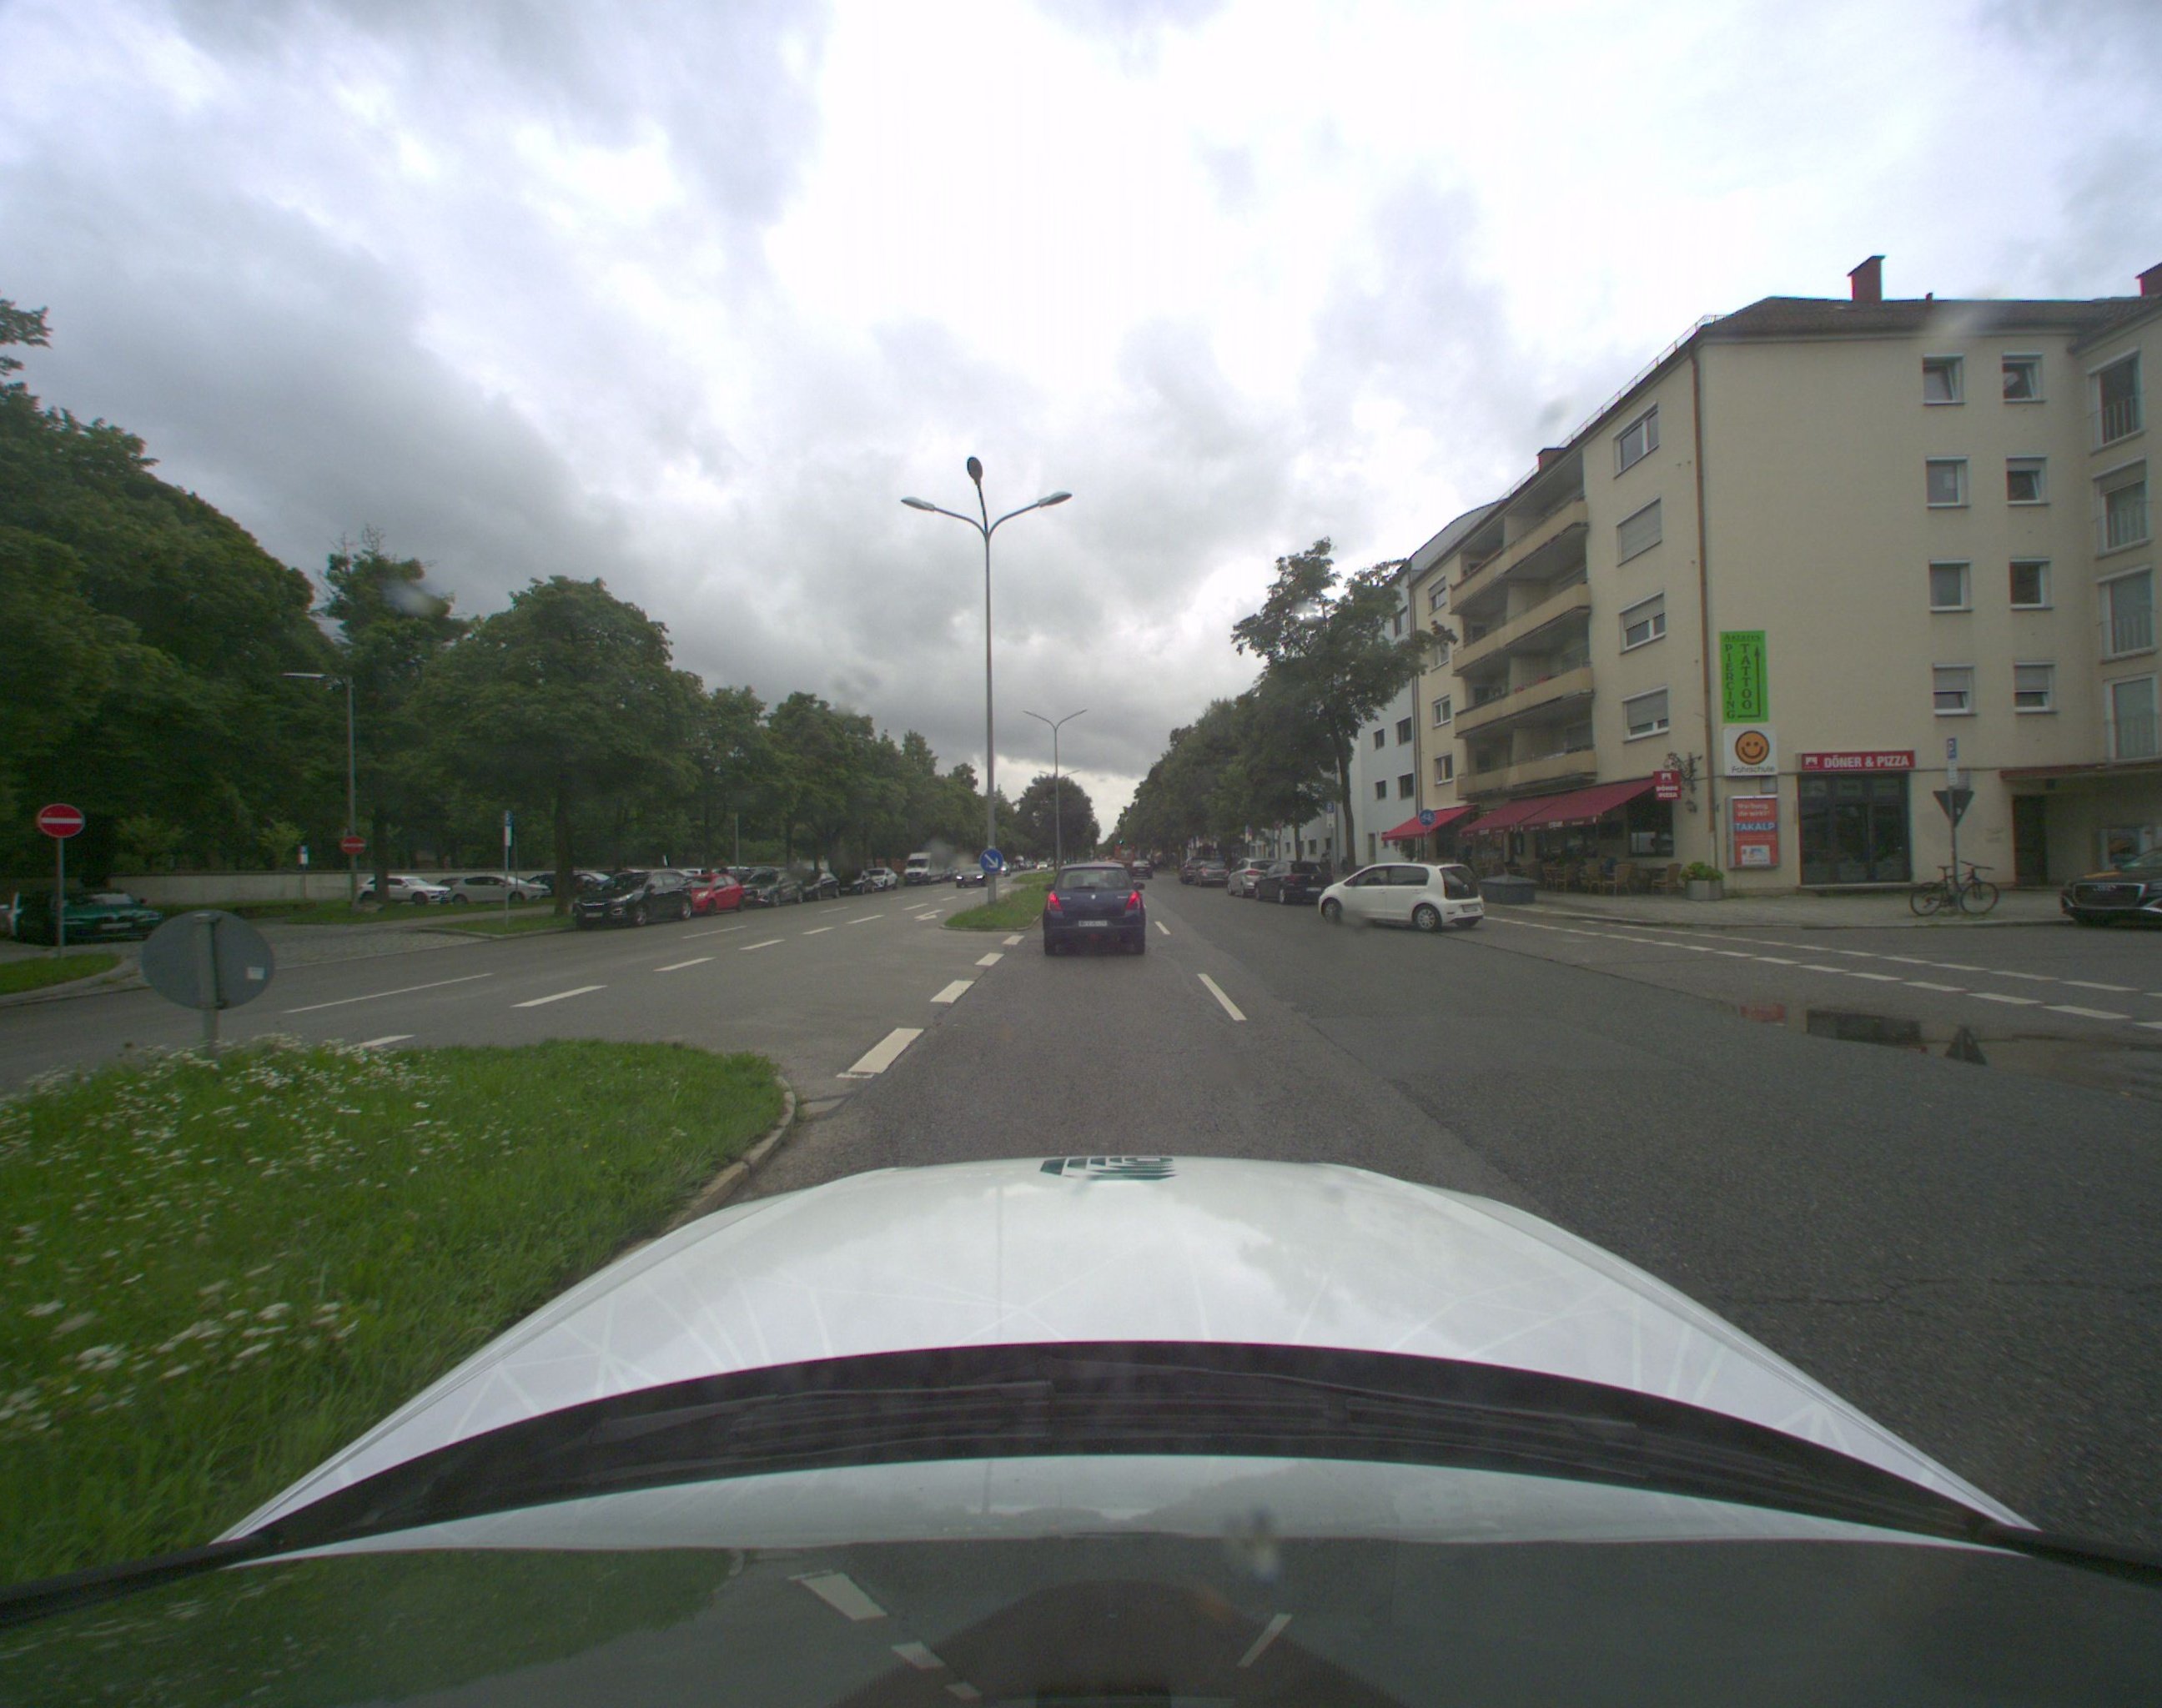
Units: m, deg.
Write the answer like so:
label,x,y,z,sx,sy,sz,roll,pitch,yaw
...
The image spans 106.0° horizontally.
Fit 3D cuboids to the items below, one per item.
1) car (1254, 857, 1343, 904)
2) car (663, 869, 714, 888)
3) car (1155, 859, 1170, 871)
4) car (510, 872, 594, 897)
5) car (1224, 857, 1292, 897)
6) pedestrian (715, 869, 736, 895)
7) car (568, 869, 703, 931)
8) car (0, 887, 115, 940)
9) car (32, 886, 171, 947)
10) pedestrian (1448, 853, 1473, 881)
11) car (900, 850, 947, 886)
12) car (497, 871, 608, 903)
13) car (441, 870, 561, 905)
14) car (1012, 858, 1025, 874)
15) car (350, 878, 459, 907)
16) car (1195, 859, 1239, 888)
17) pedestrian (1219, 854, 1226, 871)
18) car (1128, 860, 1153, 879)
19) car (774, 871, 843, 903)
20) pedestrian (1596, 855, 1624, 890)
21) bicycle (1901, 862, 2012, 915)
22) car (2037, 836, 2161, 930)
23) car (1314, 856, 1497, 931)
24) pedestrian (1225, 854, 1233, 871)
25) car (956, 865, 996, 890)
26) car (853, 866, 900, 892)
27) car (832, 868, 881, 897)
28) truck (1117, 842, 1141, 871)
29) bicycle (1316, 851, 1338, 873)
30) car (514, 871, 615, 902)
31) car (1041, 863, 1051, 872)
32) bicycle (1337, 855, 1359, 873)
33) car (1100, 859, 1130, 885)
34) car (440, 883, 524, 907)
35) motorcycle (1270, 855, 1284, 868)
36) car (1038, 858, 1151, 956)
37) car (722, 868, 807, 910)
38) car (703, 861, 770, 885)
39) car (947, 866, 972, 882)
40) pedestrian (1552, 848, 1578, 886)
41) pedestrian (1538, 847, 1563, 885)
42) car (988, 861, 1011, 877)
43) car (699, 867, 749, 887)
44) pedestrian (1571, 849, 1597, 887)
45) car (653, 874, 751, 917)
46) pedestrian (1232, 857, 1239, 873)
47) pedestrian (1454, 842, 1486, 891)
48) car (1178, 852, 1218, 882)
label,x,y,z,sx,sy,sz,roll,pitch,yaw
car,7.361,0.851,27.926,1.825,1.473,3.883,-1,0,-3
car,-37.345,2.338,77.577,3.967,1.596,1.773,-2,-1,6
car,11.837,1.553,118.453,1.986,1.643,4.334,-1,0,2
car,-36.835,2.109,56.739,4.490,1.625,2.000,-1,-1,0
car,7.189,0.899,33.500,1.823,1.522,4.523,-1,0,0
pedestrian,-20.689,1.612,47.399,0.792,1.495,0.856,-2,-1,1
car,-13.613,1.357,25.196,1.815,1.700,4.239,-1,-1,0
car,-31.320,1.736,24.773,4.411,1.409,1.871,-1,-1,32
car,-26.261,1.605,21.822,3.809,1.409,1.871,-1,-1,32
pedestrian,15.991,0.557,34.316,0.741,1.163,0.647,-1,-1,1
car,-12.719,1.094,66.195,2.132,2.643,7.108,-3,0,2
car,-26.130,1.624,40.366,4.123,1.442,1.999,-1,-1,-1
car,-26.549,1.517,37.372,3.979,1.442,1.997,-1,-1,-4
car,-12.139,2.301,158.753,2.179,2.954,6.188,-1,-1,-1
car,-38.363,2.182,46.260,4.490,1.442,2.000,-1,-1,0
car,7.603,1.074,45.877,1.823,1.522,3.770,-1,0,0
pedestrian,14.344,0.843,82.624,0.498,1.733,0.733,-1,-1,1
car,4.821,1.281,66.868,1.815,1.477,4.691,1,0,1
car,-13.481,1.602,40.521,1.813,1.409,4.004,-3,-1,4
pedestrian,16.179,0.557,24.915,0.536,1.054,0.487,-1,-1,1
bicycle,17.486,0.686,16.292,1.532,1.011,0.554,-1,-1,4
car,19.552,0.437,14.124,3.913,1.519,1.730,-1,-1,0
car,7.160,0.824,18.216,1.699,1.490,3.397,-1,-1,-36
pedestrian,15.018,0.861,82.658,0.547,1.629,0.641,-3,-1,1
car,-6.707,1.455,52.482,1.809,1.448,4.782,-2,-1,1
car,-13.071,1.582,52.313,1.815,1.528,4.298,-3,-1,0
car,-12.933,1.620,47.051,1.817,1.447,3.996,-3,0,-3
truck,6.352,0.382,109.759,3.029,3.557,13.681,-1,0,2
bicycle,16.464,0.525,54.535,0.700,1.407,2.593,-3,-1,2
car,-27.122,1.684,42.851,3.979,1.442,1.997,-1,-1,-4
car,-6.467,2.415,151.211,1.756,1.537,4.312,-4,0,-1
bicycle,16.457,0.635,50.301,0.619,1.046,2.196,-5,-1,2
car,2.026,1.060,49.565,1.712,1.501,4.301,-1,0,1
car,-37.472,2.548,50.990,3.967,1.372,1.881,-2,-1,6
motorcycle,16.811,0.620,69.900,0.758,1.086,2.200,-2,0,2
car,0.291,0.841,14.799,1.746,1.505,4.002,-1,0,2
car,-13.493,1.460,34.983,1.814,1.599,4.115,-2,-1,3
car,-24.746,1.362,58.538,3.970,1.570,1.816,-2,-1,3
car,-12.194,2.013,81.855,1.851,1.491,4.141,-1,-1,0
pedestrian,16.321,0.444,27.462,0.536,1.268,0.487,-1,-1,0
pedestrian,16.519,0.422,28.680,0.536,1.339,0.552,-1,-1,0
car,-8.786,1.630,88.377,1.844,1.600,4.404,-3,-1,2
car,-38.921,2.515,88.790,4.490,2.034,2.000,-1,-1,0
pedestrian,16.299,0.461,26.398,0.536,1.214,0.487,-1,-1,1
car,-13.886,1.484,30.098,1.815,1.479,3.809,-1,-1,0
pedestrian,15.711,1.097,83.045,0.539,1.640,0.725,-1,-1,1
pedestrian,15.670,0.501,32.812,0.870,1.929,0.757,-1,-1,-15
car,7.279,0.811,51.122,1.823,1.746,4.508,-1,0,0
